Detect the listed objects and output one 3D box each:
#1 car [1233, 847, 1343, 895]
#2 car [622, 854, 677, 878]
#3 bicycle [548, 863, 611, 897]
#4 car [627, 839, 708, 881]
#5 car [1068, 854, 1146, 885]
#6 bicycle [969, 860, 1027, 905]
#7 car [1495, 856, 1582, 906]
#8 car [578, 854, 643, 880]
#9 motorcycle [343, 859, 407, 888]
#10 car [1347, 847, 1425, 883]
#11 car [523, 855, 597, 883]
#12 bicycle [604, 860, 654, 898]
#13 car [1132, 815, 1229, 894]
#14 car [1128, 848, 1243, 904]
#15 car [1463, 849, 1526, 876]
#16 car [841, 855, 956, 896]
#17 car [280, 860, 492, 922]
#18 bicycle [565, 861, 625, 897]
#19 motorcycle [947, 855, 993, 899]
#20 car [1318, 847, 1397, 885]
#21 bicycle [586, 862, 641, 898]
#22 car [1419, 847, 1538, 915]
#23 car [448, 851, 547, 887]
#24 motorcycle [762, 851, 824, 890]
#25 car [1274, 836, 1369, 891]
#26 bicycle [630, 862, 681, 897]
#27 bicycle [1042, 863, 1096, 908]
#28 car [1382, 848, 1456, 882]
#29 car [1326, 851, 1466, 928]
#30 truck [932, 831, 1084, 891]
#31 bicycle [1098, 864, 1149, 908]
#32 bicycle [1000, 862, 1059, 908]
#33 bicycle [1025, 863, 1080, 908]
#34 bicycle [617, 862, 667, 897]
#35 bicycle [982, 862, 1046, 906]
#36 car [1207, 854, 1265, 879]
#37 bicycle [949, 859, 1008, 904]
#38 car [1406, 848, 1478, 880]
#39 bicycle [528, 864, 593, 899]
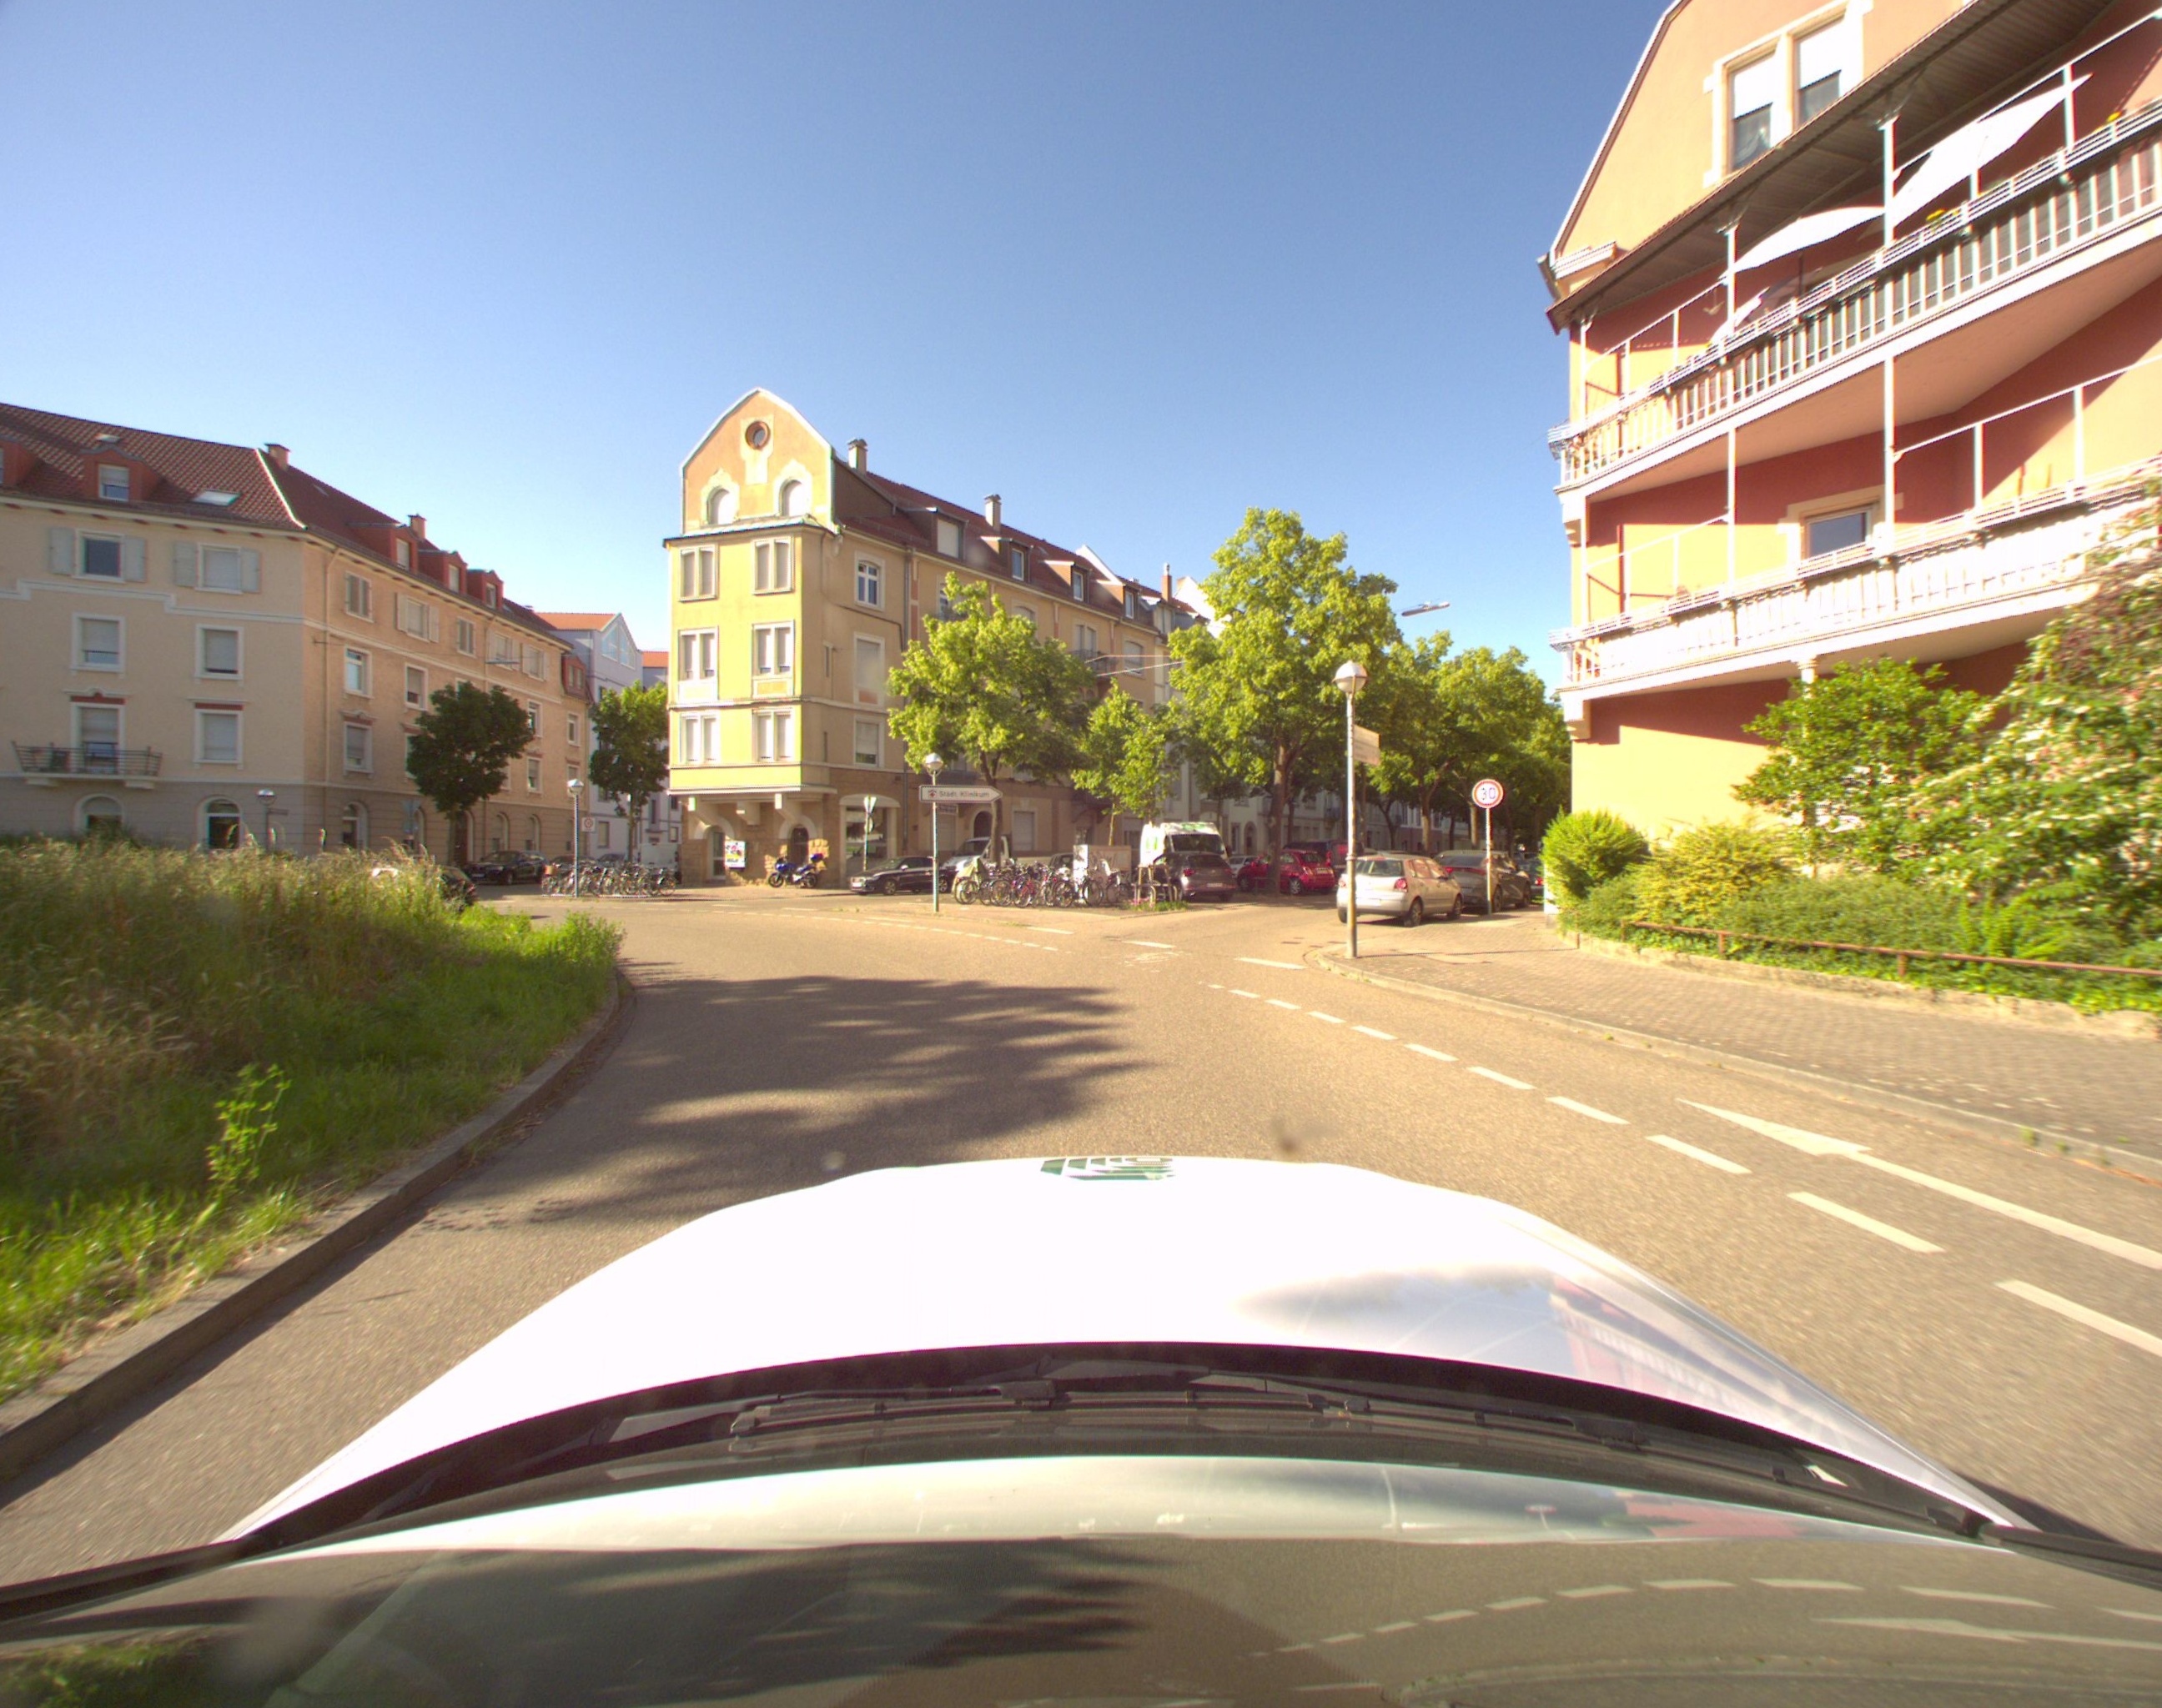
[{"bbox_3d":[6.959,0.525,27.661,1.695,1.446,3.349,0,1,-34],"label":"car"},{"bbox_3d":[-28.678,0.775,54.212,1.692,1.486,3.767,0,0,-2],"label":"car"},{"bbox_3d":[-17.036,0.873,27.735,0.530,1.090,1.888,-1,0,20],"label":"bicycle"},{"bbox_3d":[-20.078,0.290,39.758,2.133,1.909,4.549,0,0,-8],"label":"car"},{"bbox_3d":[1.292,0.701,38.769,1.666,1.390,3.947,-2,-1,38],"label":"car"},{"bbox_3d":[-2.276,0.767,22.445,0.582,1.126,1.612,1,2,43],"label":"bicycle"},{"bbox_3d":[14.160,0.776,25.145,1.667,1.381,3.301,1,1,42],"label":"car"},{"bbox_3d":[-28.537,0.778,49.558,1.692,1.486,4.000,0,0,-2],"label":"car"},{"bbox_3d":[-30.876,0.834,35.665,0.937,1.220,2.152,1,0,-2],"label":"motorcycle"},{"bbox_3d":[13.110,0.438,35.203,1.682,1.470,3.373,1,1,-10],"label":"car"},{"bbox_3d":[-28.248,0.785,44.272,1.692,1.412,3.661,0,0,-2],"label":"car"},{"bbox_3d":[-15.061,0.810,27.168,0.447,1.191,1.702,-1,0,12],"label":"bicycle"},{"bbox_3d":[3.491,-0.029,30.076,2.094,2.600,6.362,1,1,-7],"label":"car"},{"bbox_3d":[3.009,0.586,24.277,1.690,1.446,3.893,0,1,-23],"label":"car"},{"bbox_3d":[24.663,0.477,48.640,1.682,1.470,3.373,1,1,-10],"label":"car"},{"bbox_3d":[-6.630,0.751,29.935,1.666,1.390,3.947,-2,-1,38],"label":"car"},{"bbox_3d":[-17.349,0.908,20.435,3.963,1.419,1.876,-1,1,9],"label":"car"},{"bbox_3d":[-16.399,0.829,27.533,0.630,1.145,1.705,-1,0,20],"label":"bicycle"},{"bbox_3d":[-3.396,0.686,24.835,0.541,1.270,1.691,-1,2,-43],"label":"motorcycle"},{"bbox_3d":[11.312,0.461,33.510,1.682,1.470,3.373,1,1,-10],"label":"car"},{"bbox_3d":[-15.607,0.839,27.243,0.611,1.145,1.702,-1,0,12],"label":"bicycle"},{"bbox_3d":[10.505,0.625,21.357,1.667,1.562,4.321,1,1,42],"label":"car"},{"bbox_3d":[-27.867,0.689,39.086,1.900,1.642,4.339,0,0,-5],"label":"car"},{"bbox_3d":[-11.250,0.627,31.819,2.229,1.411,0.702,1,1,11],"label":"motorcycle"},{"bbox_3d":[8.632,0.309,29.525,1.687,1.865,3.363,0,1,-18],"label":"car"},{"bbox_3d":[-14.104,0.831,27.040,0.478,1.123,1.725,-1,0,15],"label":"bicycle"},{"bbox_3d":[-0.295,0.801,21.115,1.535,1.086,0.414,-1,2,-45],"label":"bicycle"},{"bbox_3d":[15.845,0.502,38.302,1.682,1.470,3.373,1,1,-10],"label":"car"},{"bbox_3d":[6.930,0.689,17.752,1.667,1.446,3.568,1,1,42],"label":"car"},{"bbox_3d":[-2.929,0.265,34.410,2.112,2.292,6.661,-2,-1,43],"label":"truck"},{"bbox_3d":[1.139,0.822,21.534,1.535,1.086,0.414,-1,2,-45],"label":"bicycle"},{"bbox_3d":[-1.339,0.802,21.467,0.494,1.102,1.660,1,2,45],"label":"bicycle"},{"bbox_3d":[-0.733,0.799,21.329,0.414,1.089,1.583,1,2,45],"label":"bicycle"},{"bbox_3d":[-14.617,0.836,27.147,0.478,1.123,1.702,-1,0,12],"label":"bicycle"},{"bbox_3d":[-1.781,0.778,21.943,0.649,1.088,1.740,1,2,43],"label":"bicycle"},{"bbox_3d":[9.146,0.731,47.802,1.666,1.390,3.947,-2,-1,38],"label":"car"},{"bbox_3d":[-2.867,0.748,22.951,0.531,1.192,1.690,1,2,43],"label":"bicycle"},{"bbox_3d":[17.813,0.445,40.290,1.682,1.470,3.373,1,1,-10],"label":"car"},{"bbox_3d":[-17.757,0.915,27.823,0.692,1.130,1.875,-2,-1,14],"label":"bicycle"}]
